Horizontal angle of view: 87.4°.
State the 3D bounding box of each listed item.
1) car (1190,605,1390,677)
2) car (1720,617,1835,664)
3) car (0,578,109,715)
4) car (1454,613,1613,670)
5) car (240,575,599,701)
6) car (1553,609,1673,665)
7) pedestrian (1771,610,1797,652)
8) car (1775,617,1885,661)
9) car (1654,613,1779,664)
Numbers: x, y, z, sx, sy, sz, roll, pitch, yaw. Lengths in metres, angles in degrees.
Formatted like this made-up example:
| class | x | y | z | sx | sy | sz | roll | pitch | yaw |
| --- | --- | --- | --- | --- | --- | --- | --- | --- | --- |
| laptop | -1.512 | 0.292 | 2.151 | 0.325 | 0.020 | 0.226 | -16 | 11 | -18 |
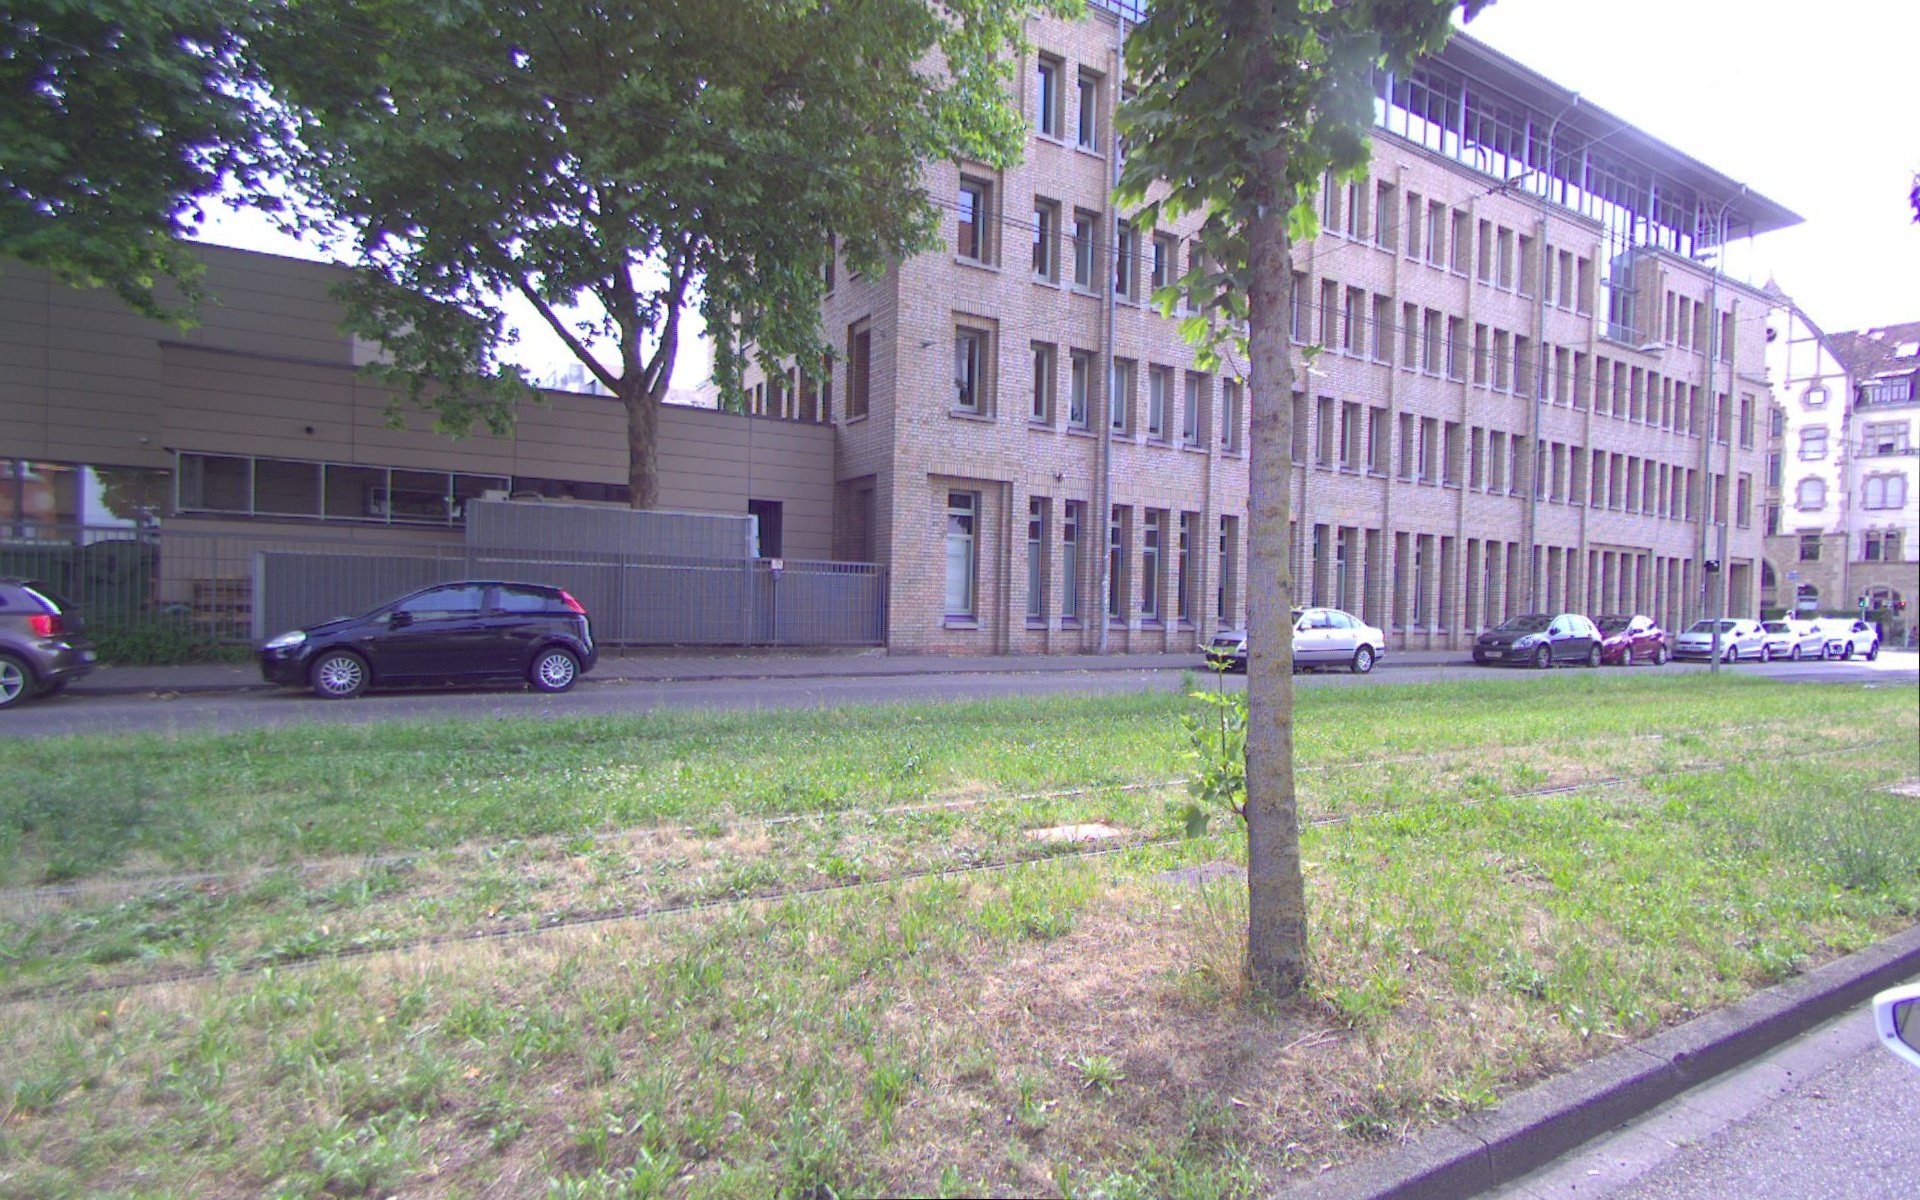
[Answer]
| class | x | y | z | sx | sy | sz | roll | pitch | yaw |
| --- | --- | --- | --- | --- | --- | --- | --- | --- | --- |
| car | 7.357 | 0.885 | 22.287 | 4.432 | 1.415 | 1.707 | 1 | 0 | -30 |
| car | 29.455 | 1.439 | 36.182 | 3.967 | 1.551 | 1.924 | 1 | 0 | -30 |
| car | -11.675 | 0.452 | 10.614 | 3.857 | 1.445 | 1.546 | 1 | 0 | -31 |
| car | 15.743 | 1.122 | 27.534 | 4.189 | 1.415 | 1.924 | 1 | 0 | -30 |
| car | -7.037 | 0.471 | 13.421 | 3.950 | 1.472 | 1.795 | 1 | 0 | -28 |
| car | 19.543 | 1.103 | 30.035 | 3.507 | 1.551 | 1.575 | 1 | 0 | -30 |
| pedestrian | 36.079 | 1.347 | 43.998 | 0.749 | 1.819 | 0.957 | 2 | 1 | 34 |
| car | 33.432 | 1.487 | 38.583 | 4.207 | 1.555 | 1.924 | 1 | 0 | -30 |
| car | 25.153 | 1.266 | 33.374 | 4.160 | 1.551 | 1.842 | 1 | 0 | -30 |
